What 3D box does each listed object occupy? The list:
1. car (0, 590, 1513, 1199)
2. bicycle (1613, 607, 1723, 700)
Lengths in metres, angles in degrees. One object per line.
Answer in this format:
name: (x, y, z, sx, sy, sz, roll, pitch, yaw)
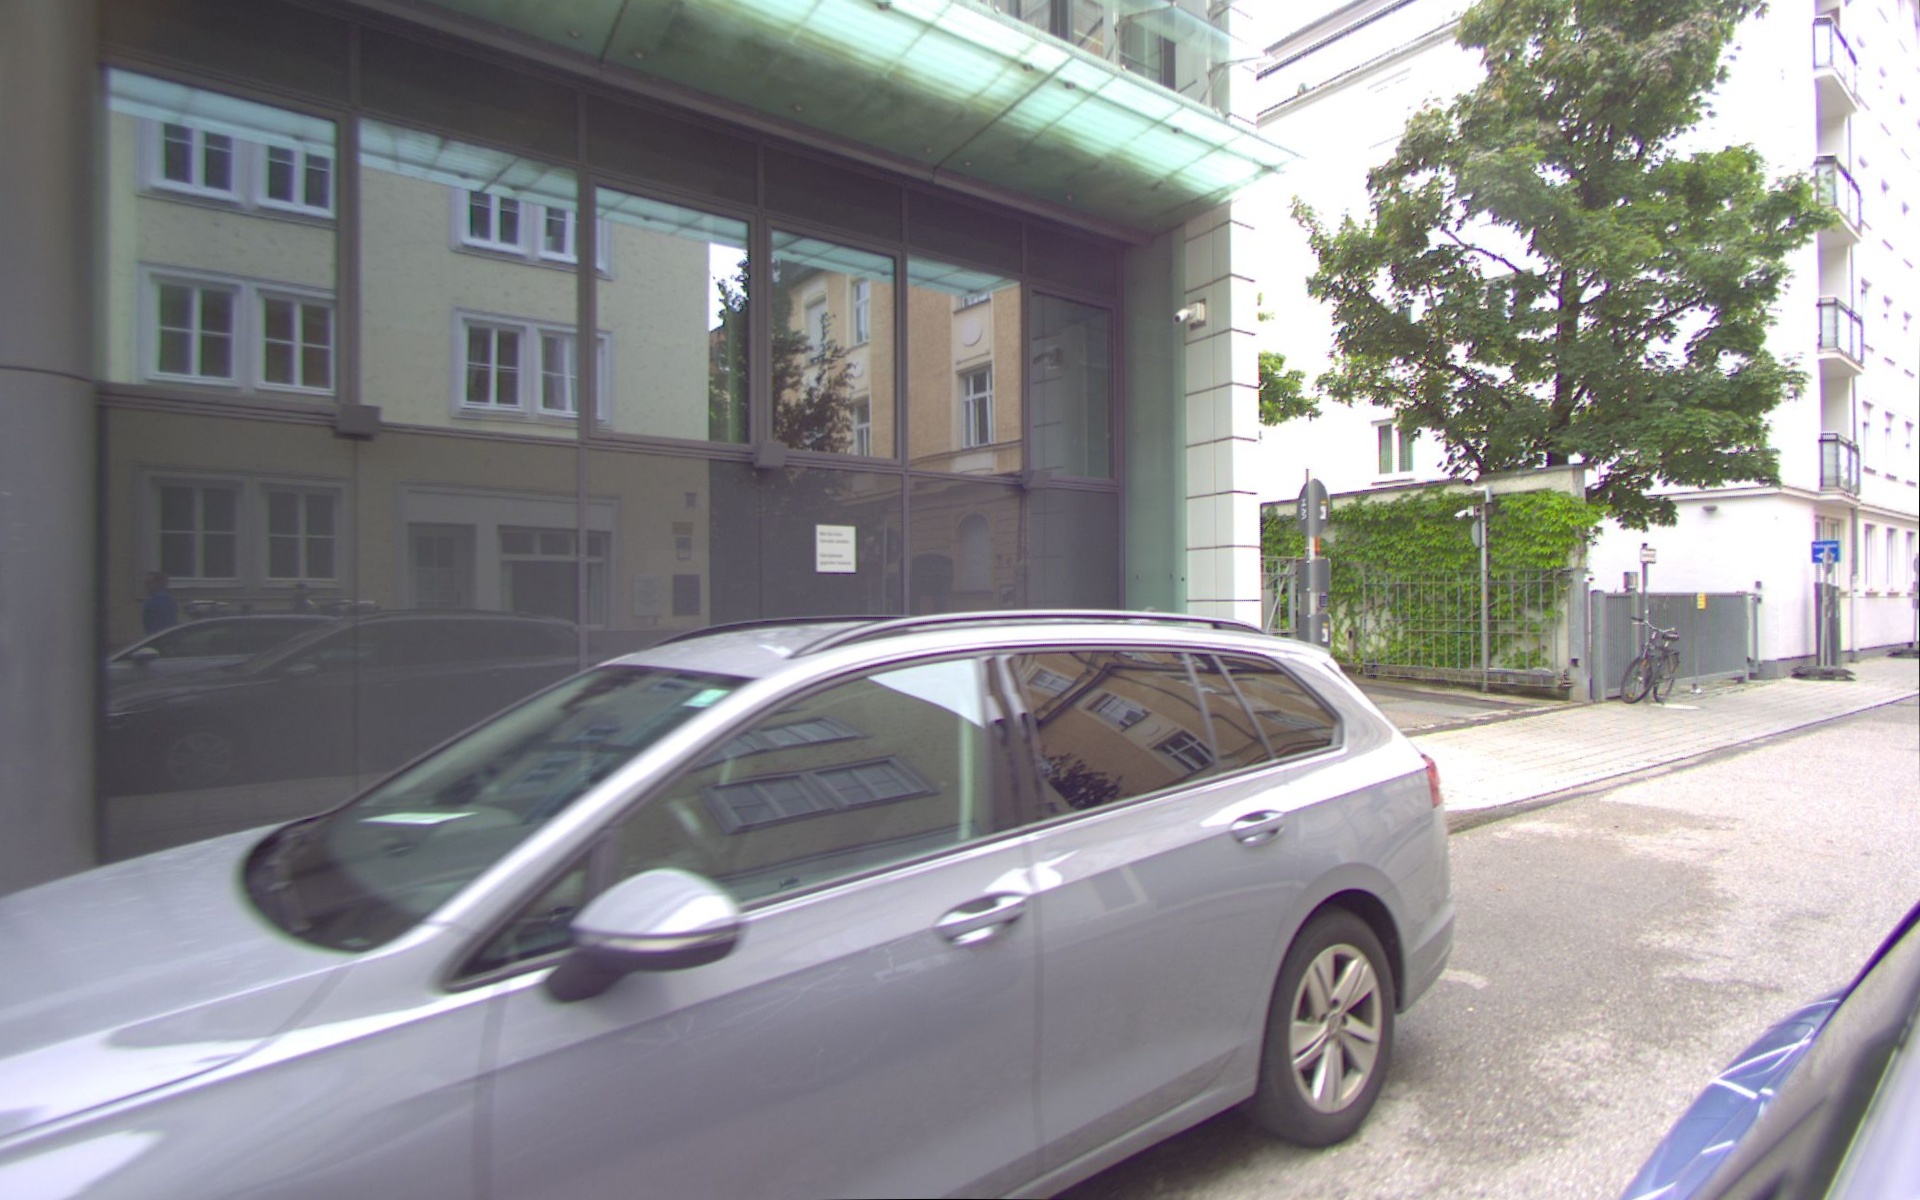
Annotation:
car: (-0.374, 0.722, 2.728, 4.250, 1.450, 1.712, -1, 0, -38)
bicycle: (9.830, 0.738, 14.029, 1.799, 1.214, 0.709, 3, -2, -36)
